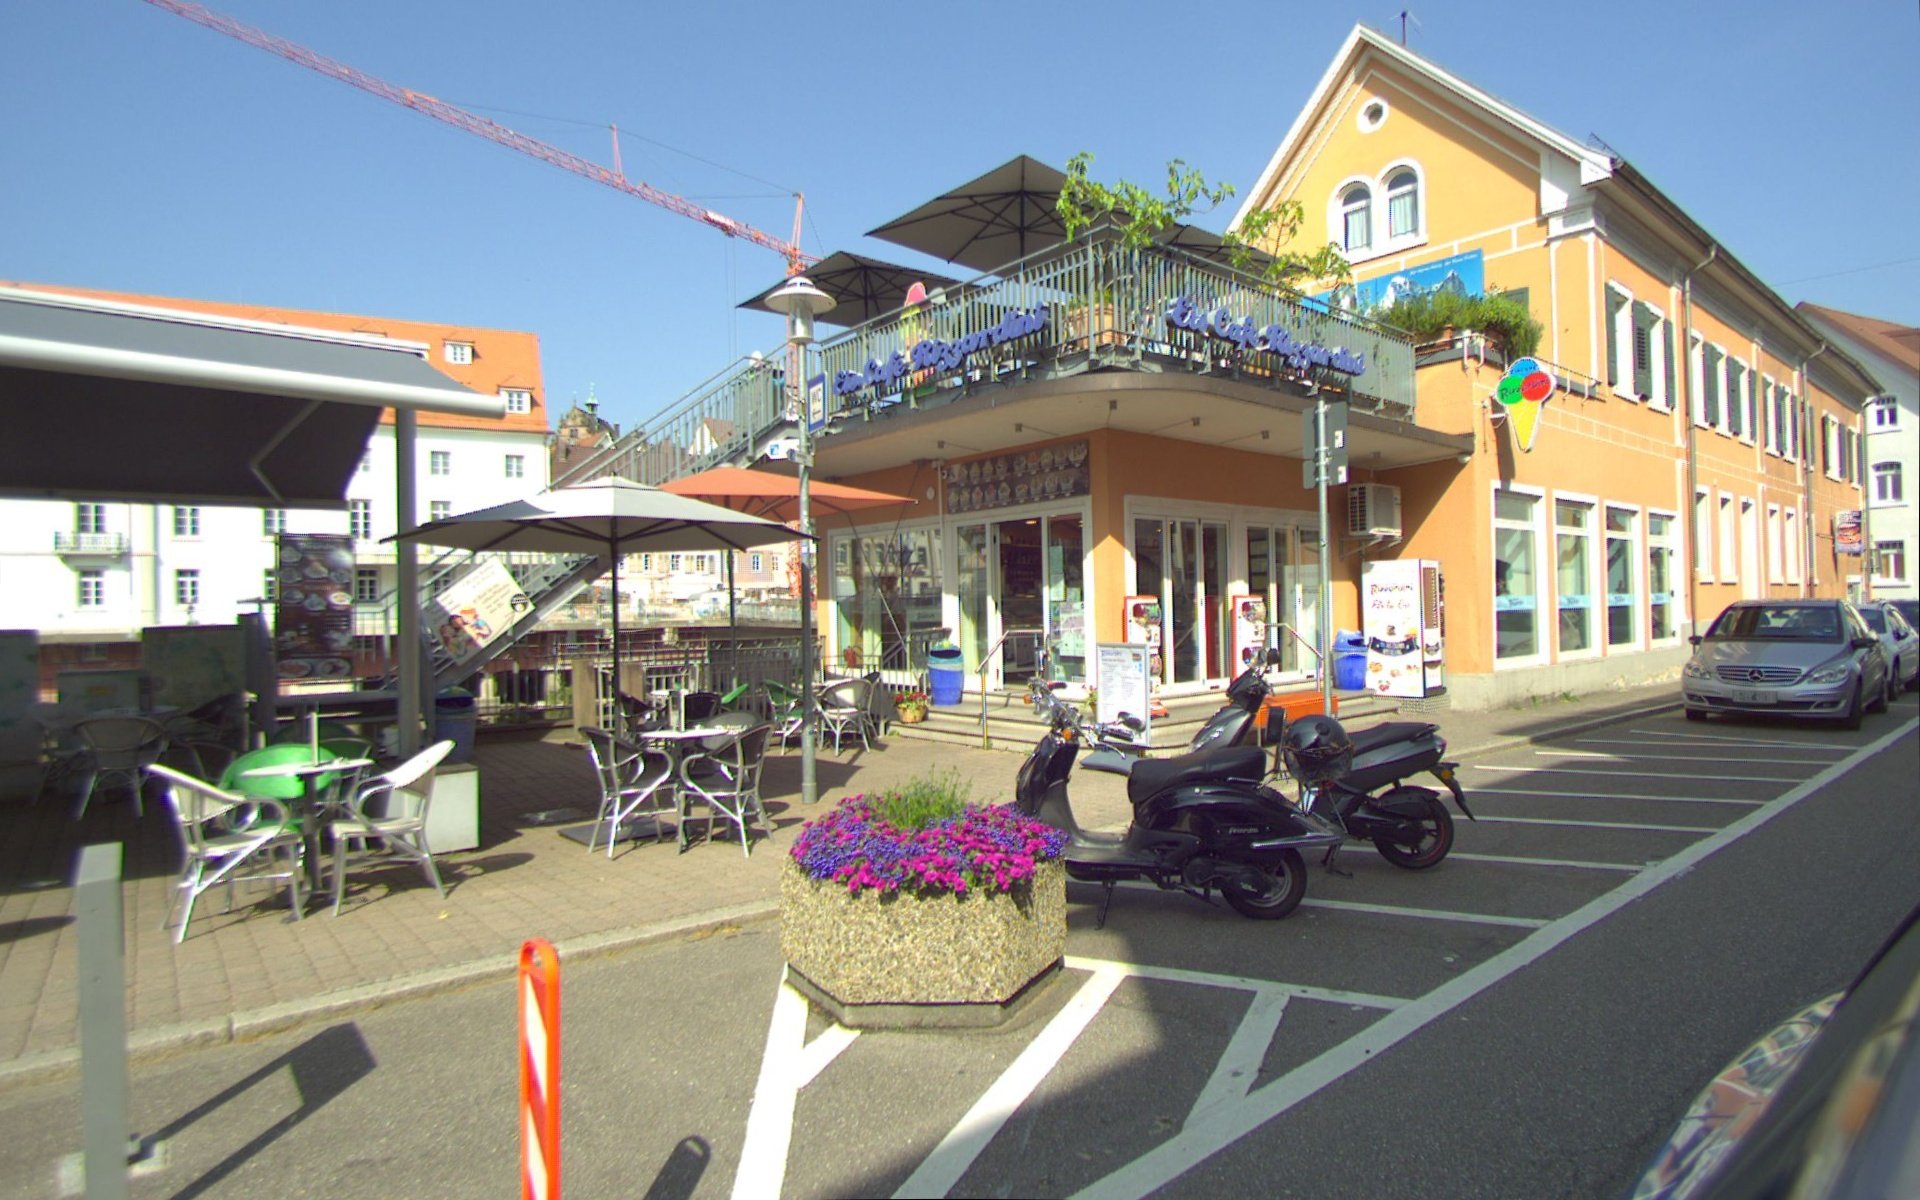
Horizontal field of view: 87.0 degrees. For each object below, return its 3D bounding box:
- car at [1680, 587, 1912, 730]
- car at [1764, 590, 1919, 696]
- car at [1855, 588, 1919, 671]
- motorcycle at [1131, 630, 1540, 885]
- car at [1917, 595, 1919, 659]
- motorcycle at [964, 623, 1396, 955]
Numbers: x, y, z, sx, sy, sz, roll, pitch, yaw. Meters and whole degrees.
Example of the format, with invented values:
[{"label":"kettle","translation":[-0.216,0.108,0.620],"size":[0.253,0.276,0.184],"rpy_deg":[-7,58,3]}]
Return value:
[{"label":"car","translation":[11.390,0.682,13.679],"size":[4.515,1.617,1.747],"rpy_deg":[0,-2,-42]},{"label":"car","translation":[15.219,0.657,17.123],"size":[4.030,1.579,1.682],"rpy_deg":[0,-1,-39]},{"label":"car","translation":[20.851,0.591,21.839],"size":[4.175,1.666,1.682],"rpy_deg":[0,0,-39]},{"label":"motorcycle","translation":[2.045,0.837,5.866],"size":[2.057,1.286,0.926],"rpy_deg":[-1,-1,11]},{"label":"car","translation":[25.446,0.664,25.330],"size":[4.111,1.559,1.682],"rpy_deg":[0,0,-39]},{"label":"motorcycle","translation":[1.044,0.816,4.968],"size":[1.873,1.375,0.912],"rpy_deg":[-1,-1,16]}]
